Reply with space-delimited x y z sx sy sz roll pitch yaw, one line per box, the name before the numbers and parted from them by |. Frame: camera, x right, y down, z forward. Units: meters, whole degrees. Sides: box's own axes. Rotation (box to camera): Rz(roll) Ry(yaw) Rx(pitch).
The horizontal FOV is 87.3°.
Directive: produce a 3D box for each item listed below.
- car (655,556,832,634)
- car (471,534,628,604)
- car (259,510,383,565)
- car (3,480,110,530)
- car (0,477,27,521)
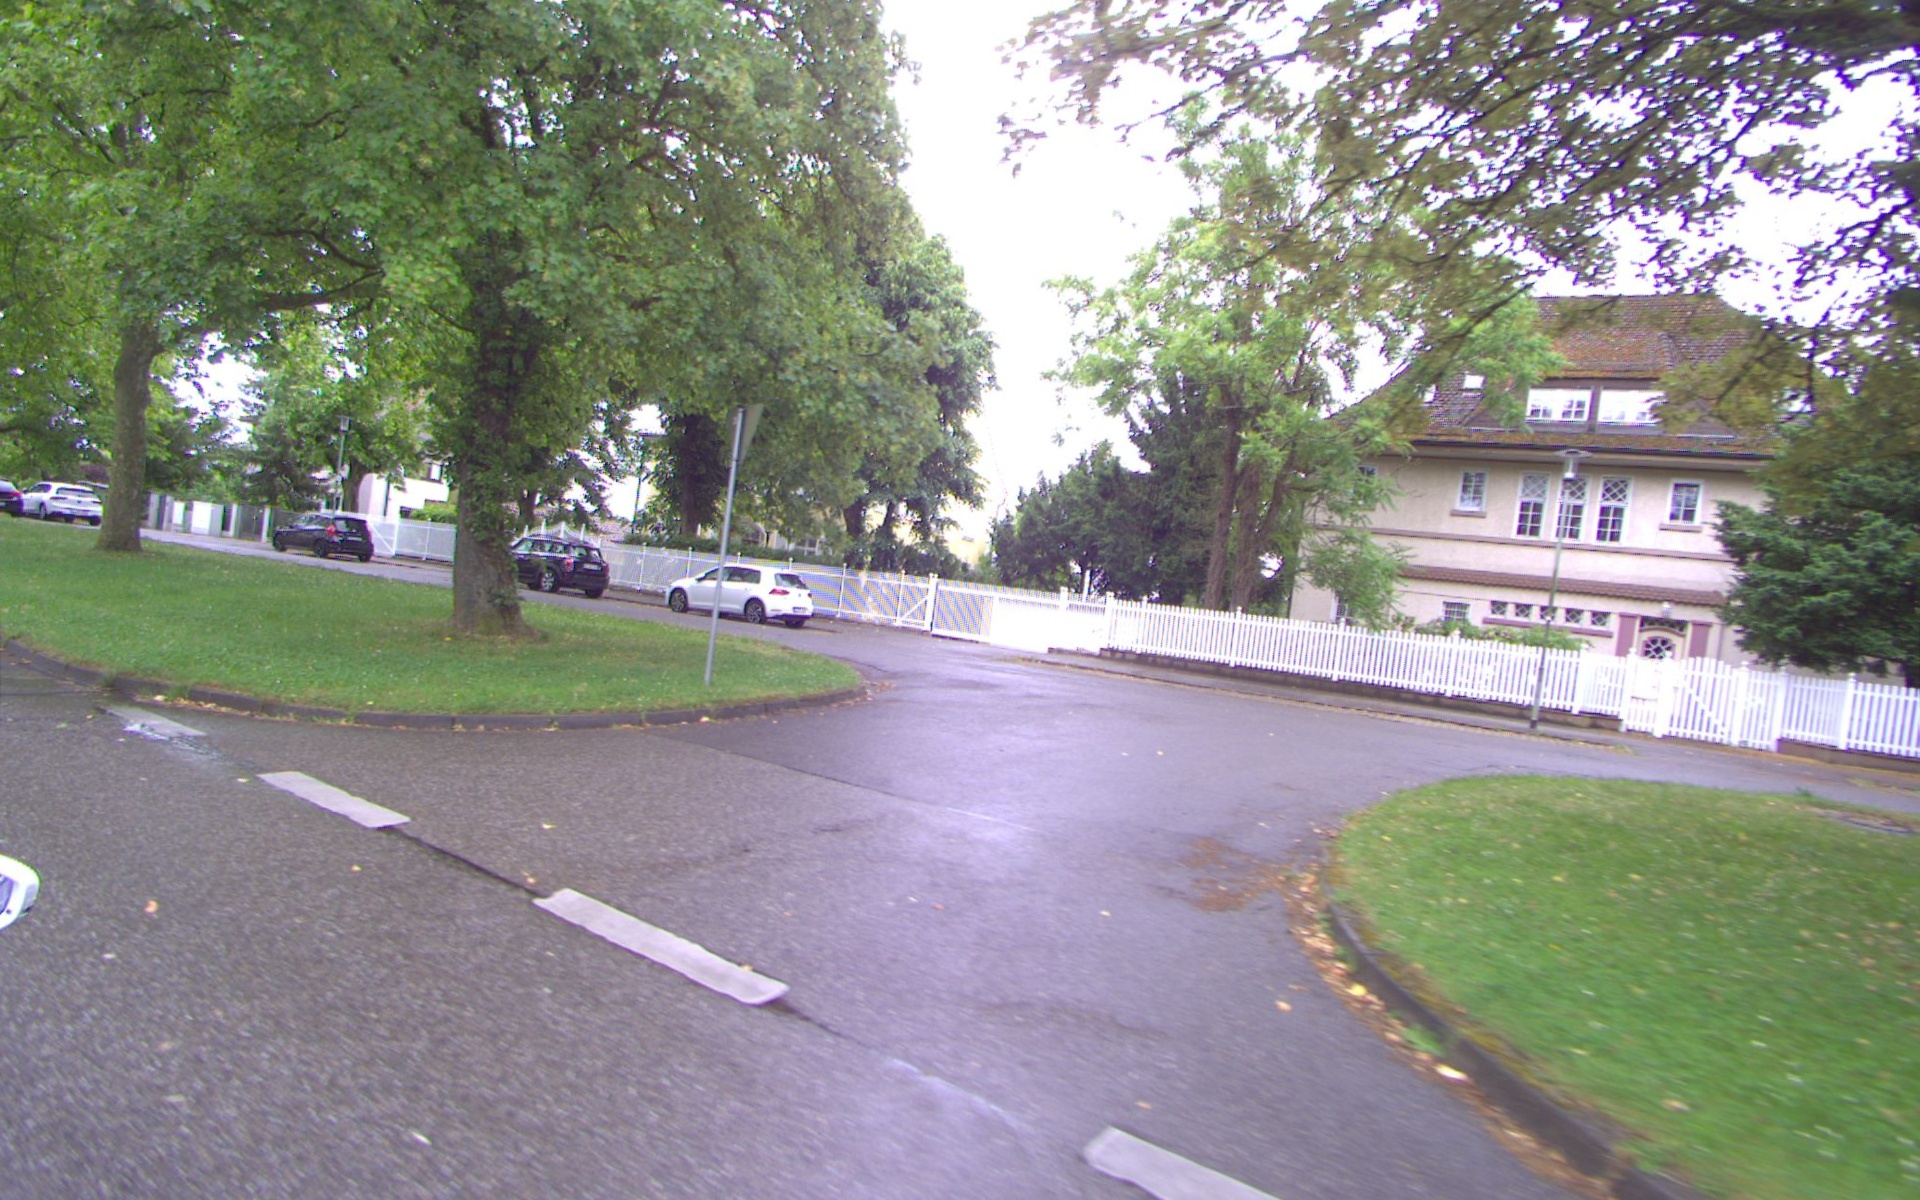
car | -5.641 -0.128 26.170 4.054 1.465 1.999 6 -2 29
car | -12.027 -0.910 29.456 4.054 1.488 1.999 6 -2 29
car | -22.529 -2.207 35.431 4.282 1.490 1.763 6 1 29
car | -35.316 -3.723 39.300 4.352 1.490 1.847 6 1 31
car | -36.395 -3.877 37.076 4.522 1.490 1.765 6 1 32
